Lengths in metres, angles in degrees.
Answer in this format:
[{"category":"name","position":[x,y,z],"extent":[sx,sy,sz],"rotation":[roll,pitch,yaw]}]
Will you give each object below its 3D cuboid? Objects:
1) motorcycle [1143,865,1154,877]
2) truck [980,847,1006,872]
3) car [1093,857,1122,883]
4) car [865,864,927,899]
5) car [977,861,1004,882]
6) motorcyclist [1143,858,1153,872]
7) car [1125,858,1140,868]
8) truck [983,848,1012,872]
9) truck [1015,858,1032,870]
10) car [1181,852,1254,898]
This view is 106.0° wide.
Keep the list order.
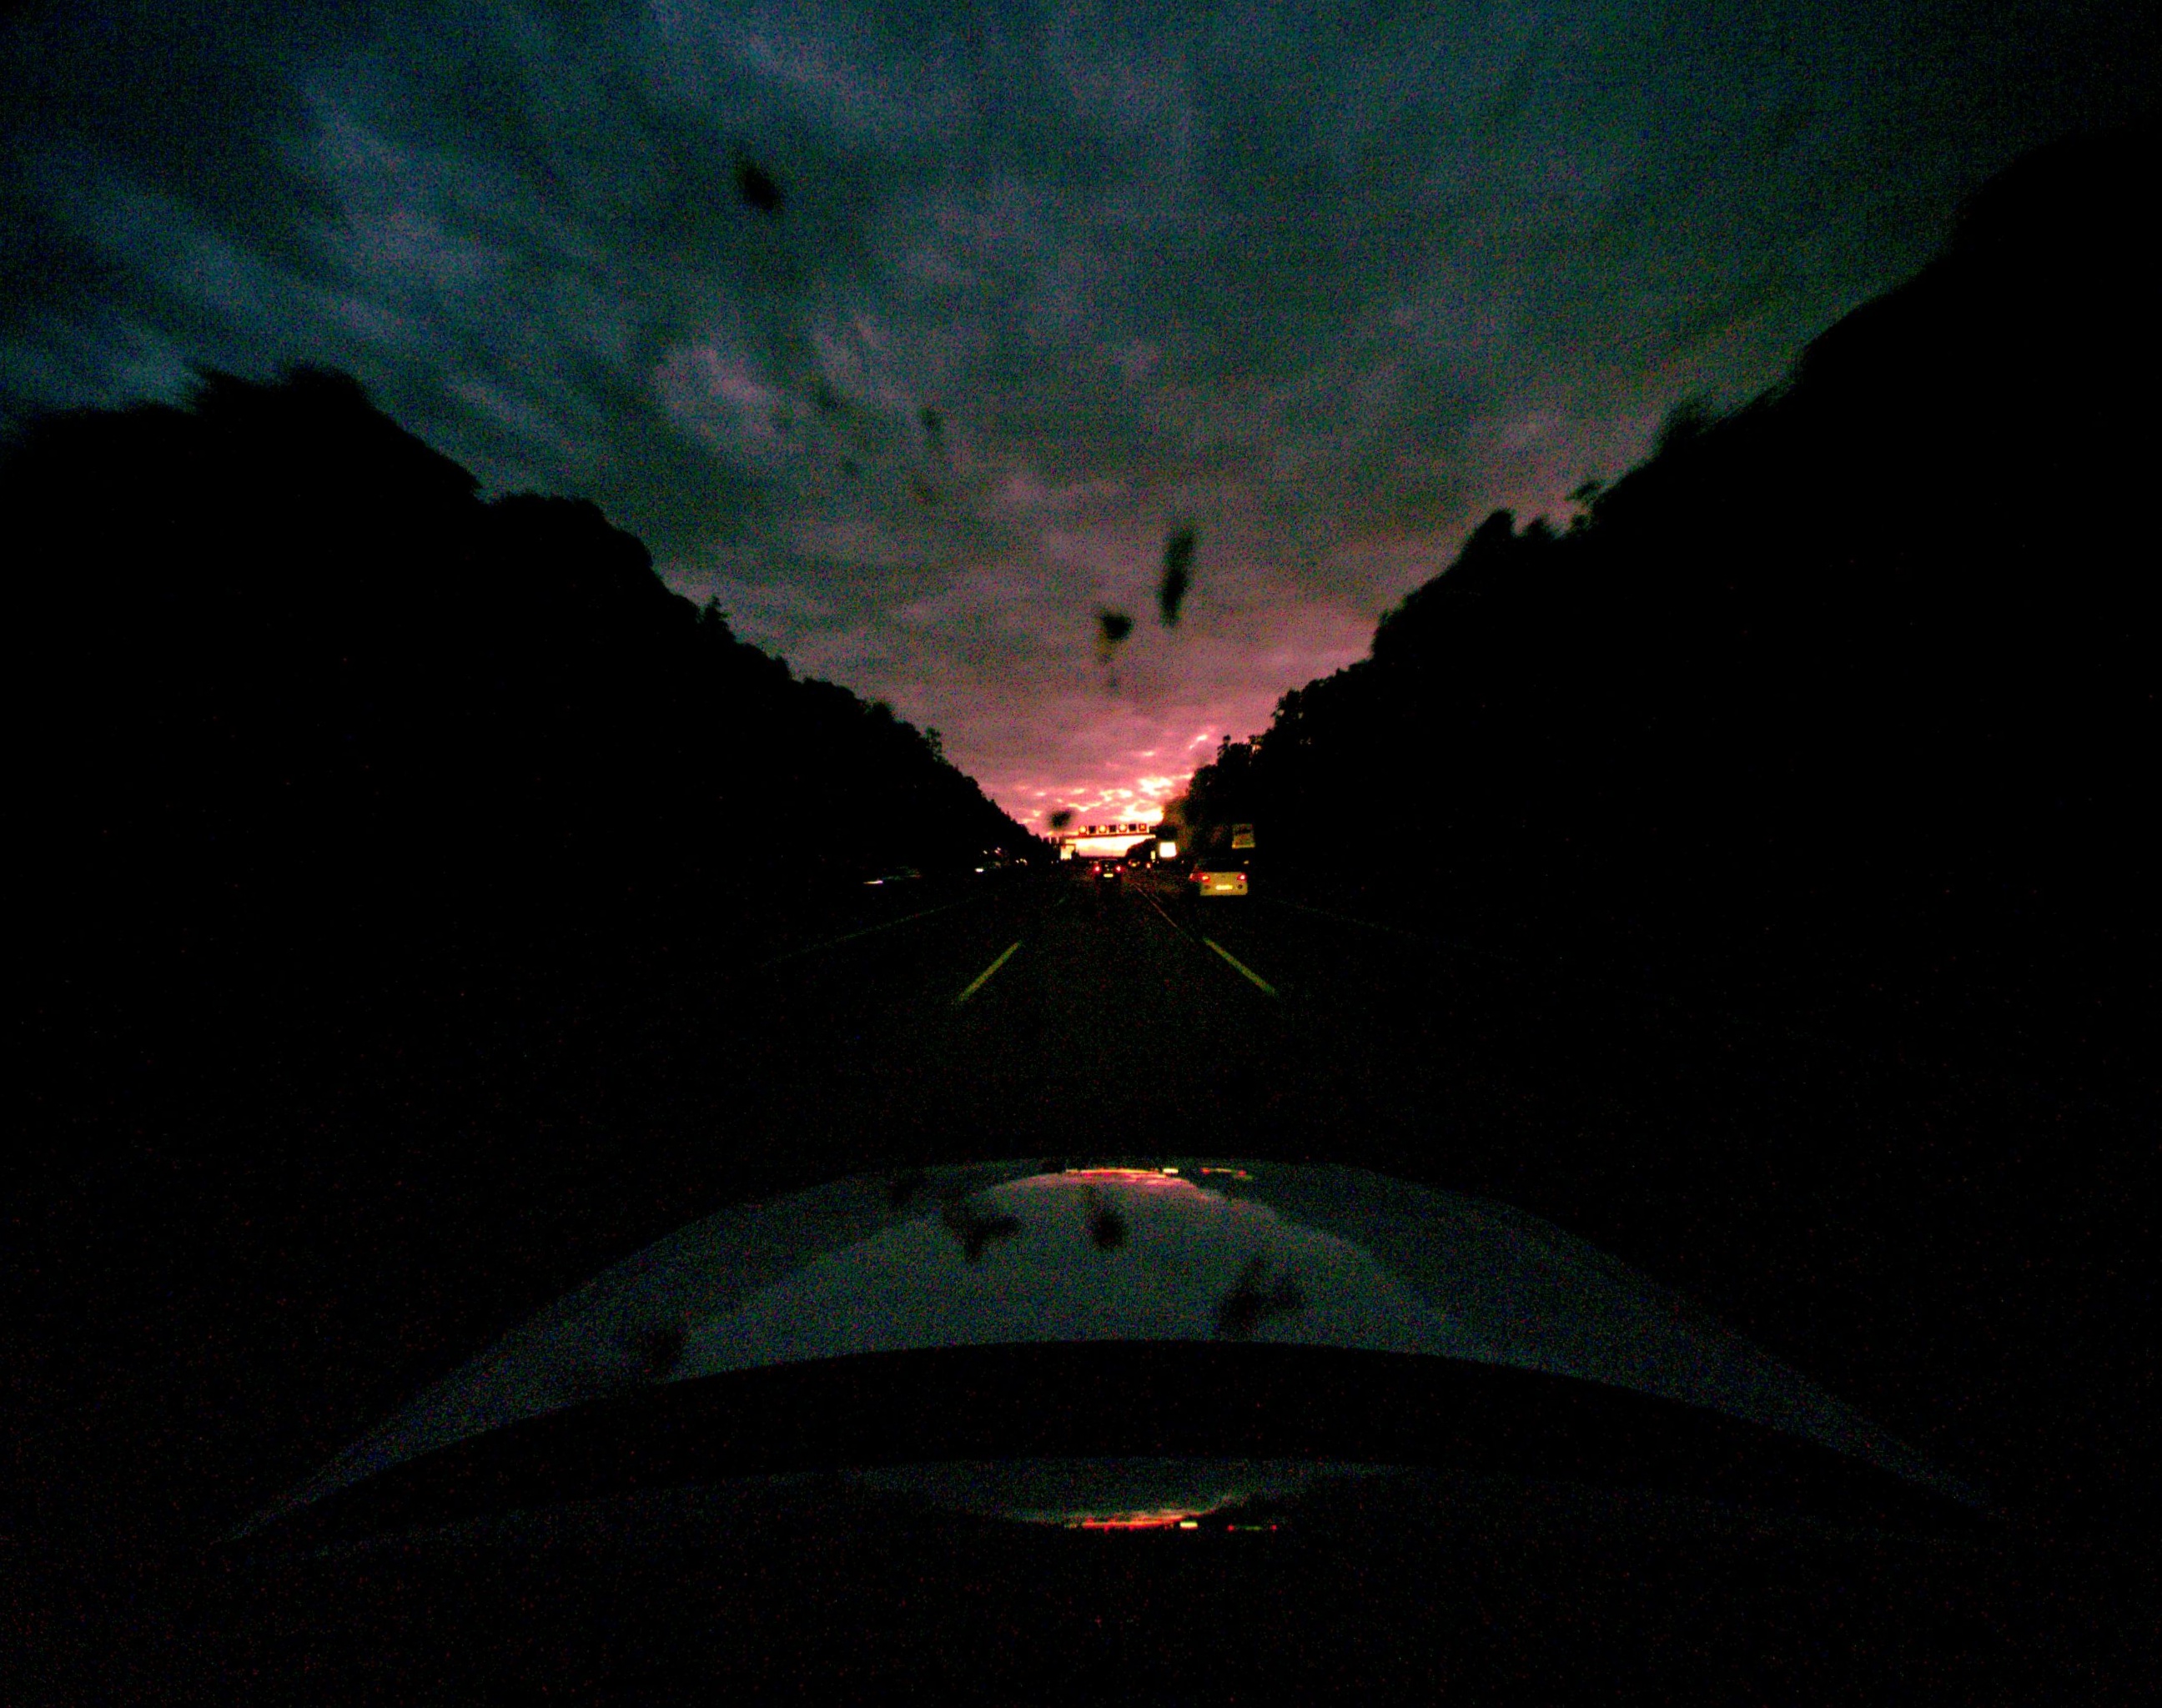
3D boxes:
[{"category":"motorcycle","position":[6.506,1.612,78.655],"extent":[0.826,1.134,2.476],"rotation":[-2,-1,2]},{"category":"truck","position":[-14.712,0.989,137.057],"extent":[3.368,4.003,6.880],"rotation":[-2,-1,1]},{"category":"car","position":[1.644,0.997,49.815],"extent":[1.697,1.509,4.233],"rotation":[0,-1,2]},{"category":"car","position":[-9.764,1.402,43.419],"extent":[1.909,1.613,5.161],"rotation":[-2,0,2]},{"category":"car","position":[-8.832,1.665,79.825],"extent":[1.924,1.931,5.111],"rotation":[-2,0,0]},{"category":"motorcyclist","position":[6.485,1.092,78.598],"extent":[0.826,1.291,1.190],"rotation":[-2,-1,1]},{"category":"car","position":[7.885,1.377,124.410],"extent":[1.861,1.494,4.394],"rotation":[0,-1,-3]},{"category":"truck","position":[-14.597,1.069,144.075],"extent":[3.345,4.003,14.498],"rotation":[-2,0,1]},{"category":"truck","position":[-12.745,2.240,179.920],"extent":[2.450,2.510,9.762],"rotation":[-1,-1,3]},{"category":"car","position":[4.680,0.725,28.532],"extent":[1.820,1.476,4.397],"rotation":[0,-1,0]}]
